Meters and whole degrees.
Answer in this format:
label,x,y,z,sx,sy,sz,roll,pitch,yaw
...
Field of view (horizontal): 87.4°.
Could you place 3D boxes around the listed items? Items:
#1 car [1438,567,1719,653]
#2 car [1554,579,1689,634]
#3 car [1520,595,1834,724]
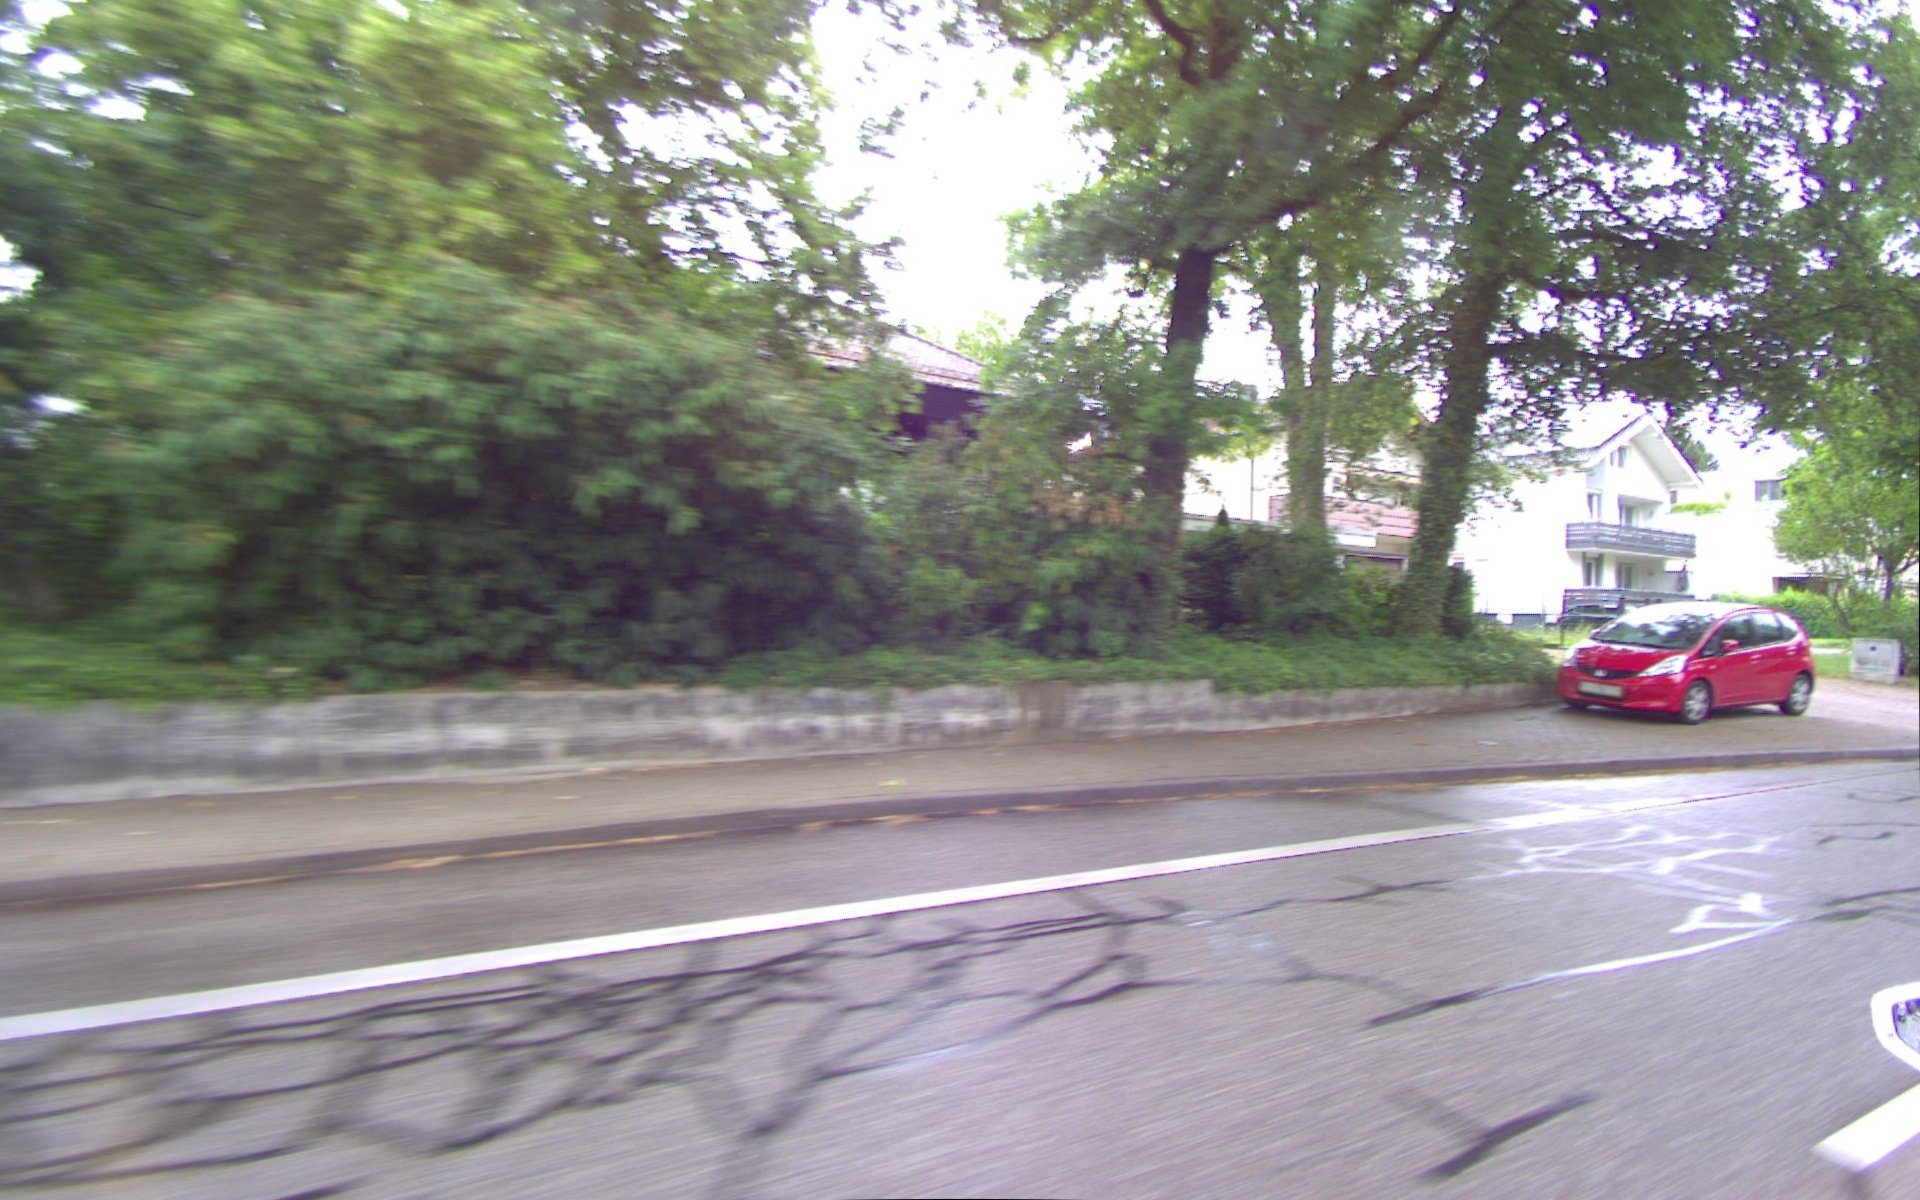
label,x,y,z,sx,sy,sz,roll,pitch,yaw
car,16.997,0.173,27.959,3.439,2.065,5.714,0,2,-30
car,25.826,0.282,39.323,1.978,2.040,3.965,1,-1,-32
car,10.269,0.740,14.403,3.946,1.537,1.987,0,3,-26
